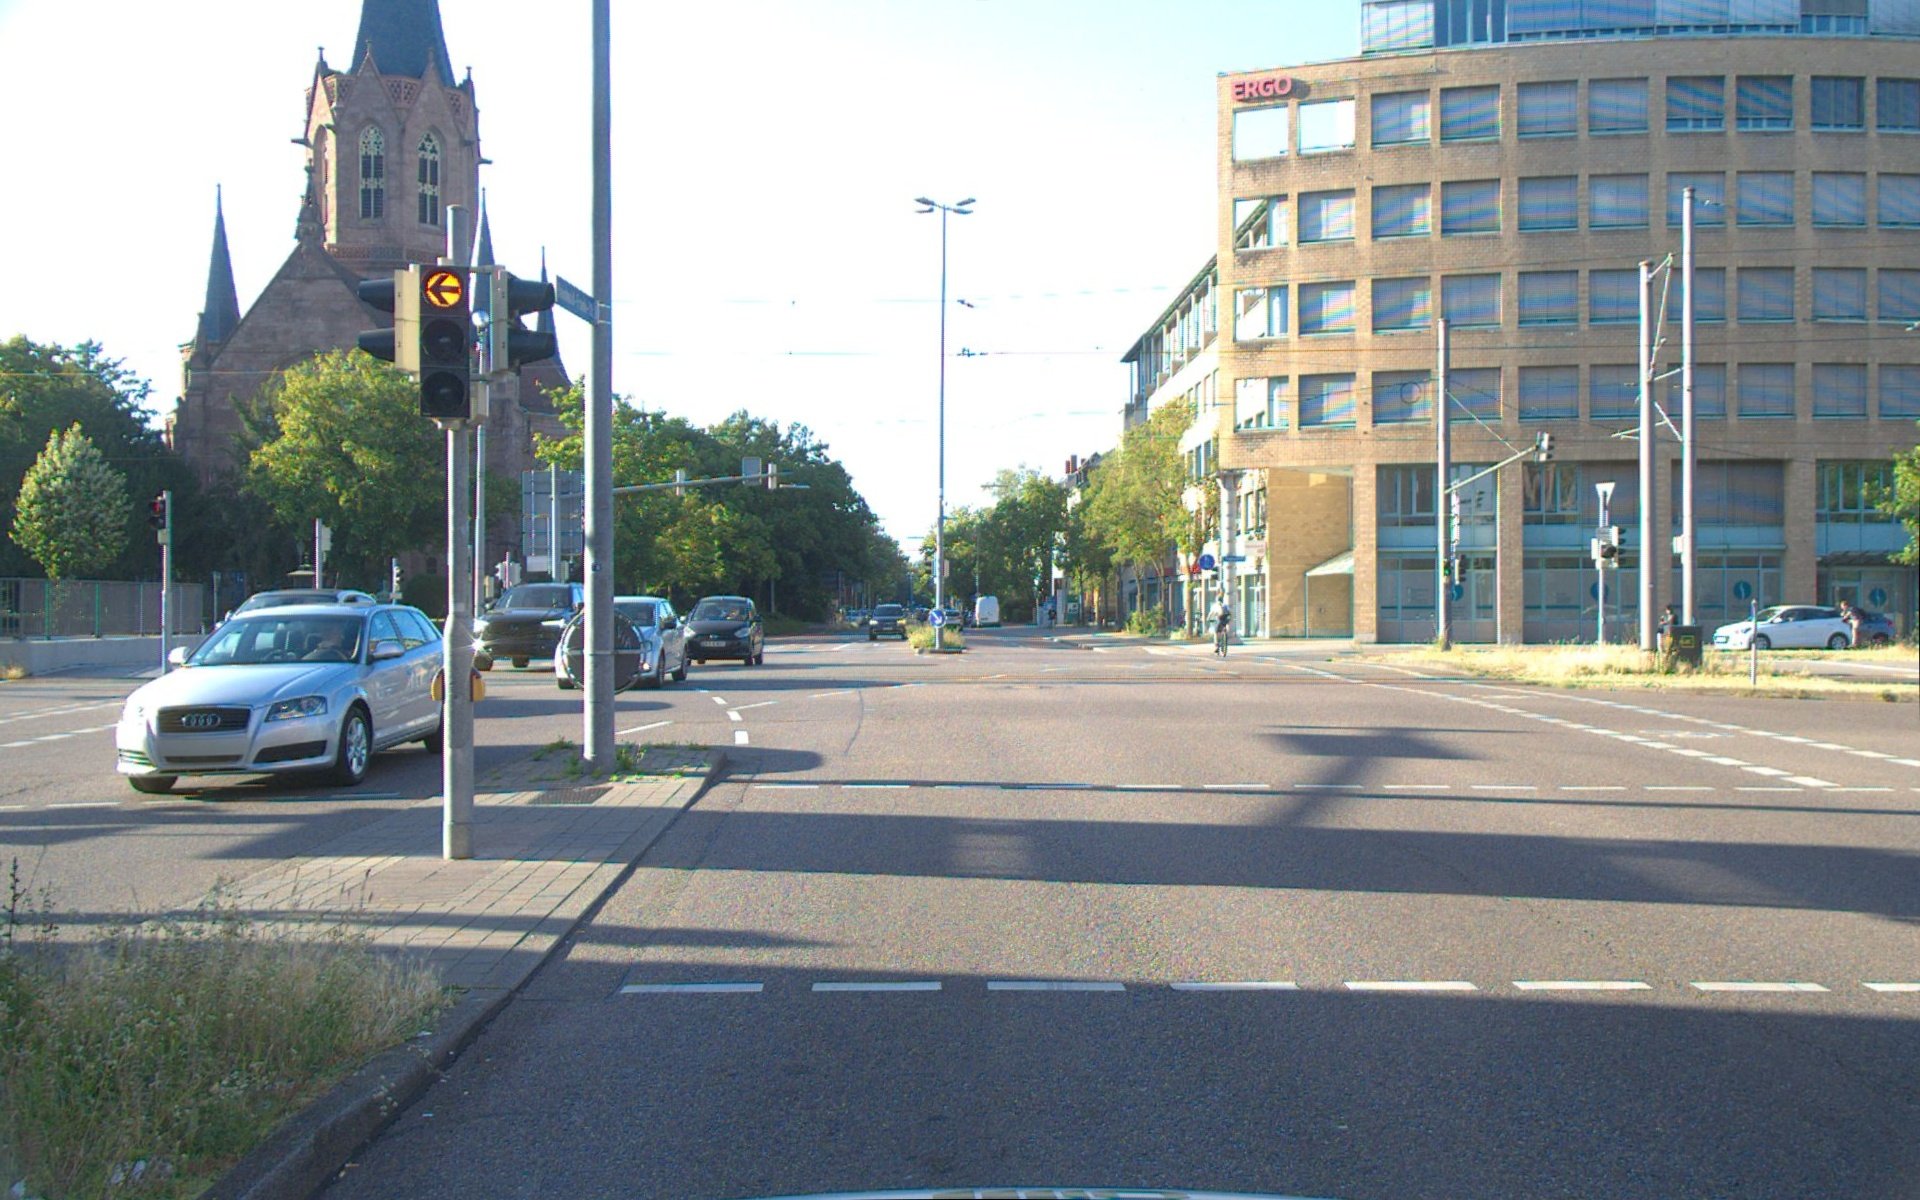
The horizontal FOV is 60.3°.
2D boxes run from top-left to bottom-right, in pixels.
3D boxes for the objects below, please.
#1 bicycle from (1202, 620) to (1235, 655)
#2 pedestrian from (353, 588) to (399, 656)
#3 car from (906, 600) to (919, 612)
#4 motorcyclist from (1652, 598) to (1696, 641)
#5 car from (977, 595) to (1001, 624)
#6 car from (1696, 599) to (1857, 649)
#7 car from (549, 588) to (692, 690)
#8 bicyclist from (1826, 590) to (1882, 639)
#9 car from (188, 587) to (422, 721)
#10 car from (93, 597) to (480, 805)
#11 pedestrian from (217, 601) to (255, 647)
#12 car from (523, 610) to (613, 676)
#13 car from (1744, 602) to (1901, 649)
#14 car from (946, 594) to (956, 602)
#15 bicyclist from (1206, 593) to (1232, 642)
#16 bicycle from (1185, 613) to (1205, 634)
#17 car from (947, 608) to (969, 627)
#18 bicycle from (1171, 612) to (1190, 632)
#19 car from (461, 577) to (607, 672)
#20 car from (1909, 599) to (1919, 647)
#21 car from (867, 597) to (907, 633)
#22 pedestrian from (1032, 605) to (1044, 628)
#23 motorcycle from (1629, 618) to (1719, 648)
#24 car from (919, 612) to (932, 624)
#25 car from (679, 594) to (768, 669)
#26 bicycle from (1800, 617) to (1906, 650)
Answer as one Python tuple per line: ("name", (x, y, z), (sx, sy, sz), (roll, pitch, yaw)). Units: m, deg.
("bicycle", (7.442, 1.075, 47.695), (0.580, 0.959, 1.978), (1, 0, -1))
("pedestrian", (-15.458, 0.585, 43.766), (0.945, 1.770, 0.811), (0, -1, -3))
("car", (-7.162, 0.949, 251.017), (1.848, 1.700, 3.999), (1, 0, -1))
("motorcyclist", (24.569, 0.679, 56.953), (1.044, 1.460, 1.031), (0, -1, -2))
("car", (2.481, 0.849, 144.499), (1.953, 2.483, 3.999), (1, 0, -1))
("car", (25.596, 0.746, 51.936), (4.080, 1.518, 1.994), (0, -1, -3))
("car", (-5.531, 0.584, 27.379), (1.641, 1.571, 3.805), (0, 0, -1))
("bicyclist", (29.369, 0.473, 54.361), (1.198, 1.599, 1.153), (0, 0, -3))
("car", (-8.504, 0.637, 21.803), (1.641, 1.571, 3.637), (-2, 0, -1))
("car", (-5.548, 0.742, 14.231), (1.674, 1.450, 4.101), (-2, 0, -1))
("pedestrian", (-27.528, 0.910, 62.890), (0.993, 1.726, 0.844), (1, -1, 24))
("car", (-10.258, 1.102, 43.435), (1.546, 1.571, 3.476), (-2, 0, -1))
("car", (29.750, 0.883, 57.130), (4.390, 1.564, 1.986), (0, -1, -1))
("car", (-1.408, -0.286, 254.885), (1.562, 1.289, 3.266), (0, 0, -1))
("bicyclist", (7.441, 0.503, 47.568), (0.580, 1.393, 0.929), (1, 0, -1))
("bicycle", (11.396, 1.127, 80.285), (0.633, 1.012, 2.080), (0, 0, -2))
("car", (-0.178, 1.261, 118.771), (1.562, 1.289, 3.266), (0, 0, -1))
("bicycle", (11.288, 1.146, 84.863), (0.633, 1.012, 2.080), (0, 0, -2))
("car", (-8.606, 0.446, 33.831), (1.779, 1.740, 4.785), (-2, 0, -1))
("car", (32.419, 0.722, 52.140), (3.970, 1.518, 1.819), (0, -1, -2))
("car", (-3.739, 0.792, 84.853), (1.953, 1.754, 5.029), (-1, -1, -2))
("pedestrian", (6.162, 1.281, 130.659), (0.830, 1.835, 0.775), (0, 0, -1))
("motorcycle", (24.557, 1.131, 56.947), (2.663, 0.981, 1.031), (0, -1, -2))
("car", (-4.069, 2.122, 196.808), (1.562, 1.289, 3.266), (0, 0, -1))
("car", (-5.333, 0.669, 37.639), (1.546, 1.571, 3.476), (-2, 0, -1))
("bicycle", (29.328, 1.093, 54.339), (2.901, 1.018, 1.153), (0, 0, -3))
